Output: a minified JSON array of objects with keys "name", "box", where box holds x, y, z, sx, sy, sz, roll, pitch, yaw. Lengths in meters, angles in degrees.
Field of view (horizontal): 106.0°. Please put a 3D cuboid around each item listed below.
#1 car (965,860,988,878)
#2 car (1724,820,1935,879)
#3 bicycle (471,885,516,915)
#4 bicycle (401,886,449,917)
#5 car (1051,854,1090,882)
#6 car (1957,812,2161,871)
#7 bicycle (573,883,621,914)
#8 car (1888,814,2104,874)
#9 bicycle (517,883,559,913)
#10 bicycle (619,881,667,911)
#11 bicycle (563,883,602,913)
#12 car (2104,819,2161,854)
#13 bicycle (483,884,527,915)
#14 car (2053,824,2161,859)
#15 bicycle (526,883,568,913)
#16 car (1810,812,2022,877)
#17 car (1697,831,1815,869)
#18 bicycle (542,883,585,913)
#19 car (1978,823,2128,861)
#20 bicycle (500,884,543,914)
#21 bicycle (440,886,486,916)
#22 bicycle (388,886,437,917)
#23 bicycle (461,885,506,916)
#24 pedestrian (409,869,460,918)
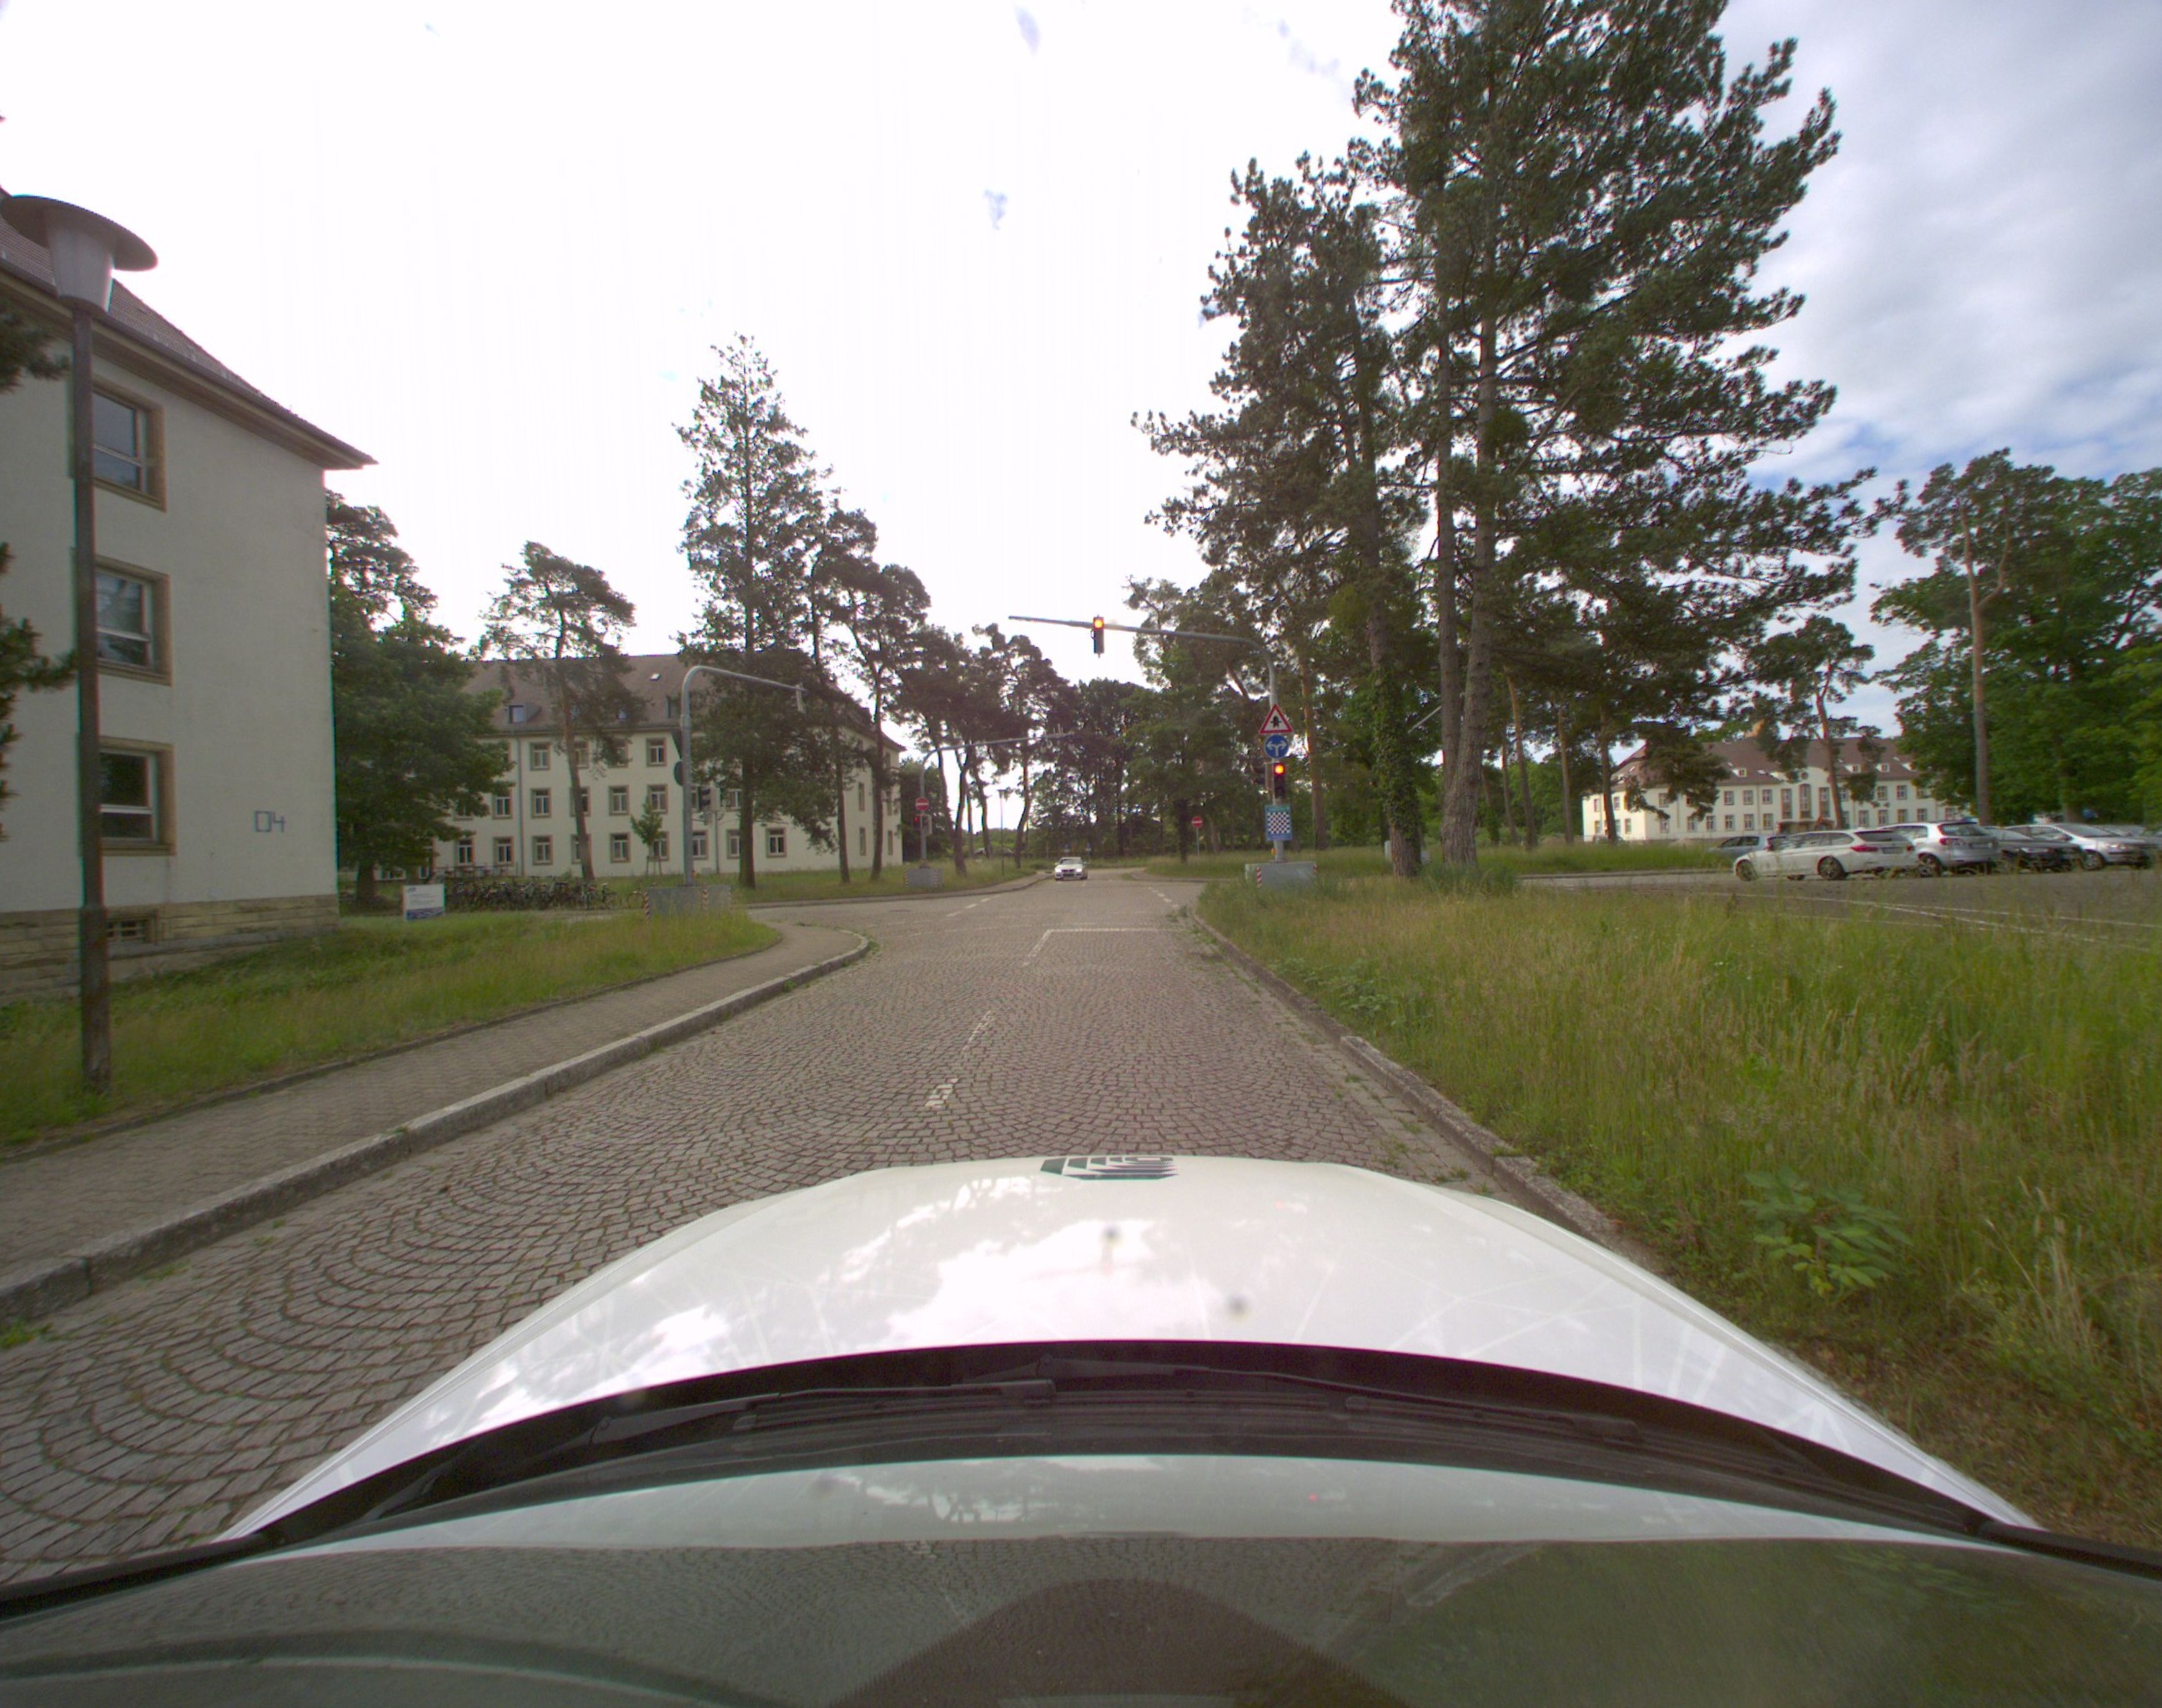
[{"name":"car","box":[-11.301,1.573,88.357,1.988,1.846,3.998,0,0,-1]},{"name":"car","box":[21.659,-0.057,23.881,1.843,1.487,4.606,-1,-3,-1]},{"name":"bicycle","box":[-22.920,1.770,31.802,0.512,1.079,1.586,-2,0,2]},{"name":"bicycle","box":[-25.627,1.843,31.853,0.512,1.079,1.586,-2,0,2]},{"name":"car","box":[-0.576,0.834,50.697,1.764,1.438,4.226,-5,0,7]},{"name":"car","box":[29.671,-0.314,24.687,1.694,1.485,4.246,-2,-3,3]},{"name":"bicycle","box":[-18.089,1.659,30.440,1.460,1.079,0.516,-2,-1,-1]},{"name":"car","box":[26.926,-0.209,24.232,1.694,1.485,4.246,-2,-3,3]},{"name":"bicycle","box":[-21.215,1.721,31.862,0.512,1.079,1.586,-2,0,2]},{"name":"bicycle","box":[-16.452,1.573,30.593,1.460,1.065,0.516,-2,0,-1]},{"name":"bicycle","box":[-19.473,1.708,31.837,0.513,1.079,1.584,-2,0,-1]},{"name":"car","box":[47.403,-0.769,35.081,1.608,1.501,4.252,-2,0,7]},{"name":"bicycle","box":[-22.468,1.763,31.805,0.512,1.079,1.586,-2,0,2]},{"name":"car","box":[44.520,-0.551,34.582,1.724,1.390,4.252,-2,0,7]},{"name":"bicycle","box":[-20.854,1.718,31.854,0.512,1.079,1.586,-2,0,2]},{"name":"car","box":[24.295,-0.203,23.964,1.777,1.605,4.240,-2,-3,-1]},{"name":"car","box":[29.070,-0.158,35.252,1.727,1.509,4.247,-2,0,3]},{"name":"bicycle","box":[-20.152,1.713,31.755,0.512,1.079,1.587,-2,0,4]},{"name":"car","box":[41.746,-0.505,35.158,1.724,1.472,4.252,-2,0,7]},{"name":"bicycle","box":[-21.846,1.736,31.821,0.512,1.079,1.586,-2,0,2]},{"name":"bicycle","box":[-24.100,1.825,31.806,0.512,1.079,1.586,-2,0,2]},{"name":"bicycle","box":[-26.128,1.847,31.847,0.512,1.079,1.586,-2,0,2]},{"name":"bicycle","box":[-23.304,1.802,31.798,0.512,1.079,1.586,-2,0,2]},{"name":"pedestrian","box":[-24.724,1.491,31.159,1.050,1.788,1.165,-2,1,29]}]
